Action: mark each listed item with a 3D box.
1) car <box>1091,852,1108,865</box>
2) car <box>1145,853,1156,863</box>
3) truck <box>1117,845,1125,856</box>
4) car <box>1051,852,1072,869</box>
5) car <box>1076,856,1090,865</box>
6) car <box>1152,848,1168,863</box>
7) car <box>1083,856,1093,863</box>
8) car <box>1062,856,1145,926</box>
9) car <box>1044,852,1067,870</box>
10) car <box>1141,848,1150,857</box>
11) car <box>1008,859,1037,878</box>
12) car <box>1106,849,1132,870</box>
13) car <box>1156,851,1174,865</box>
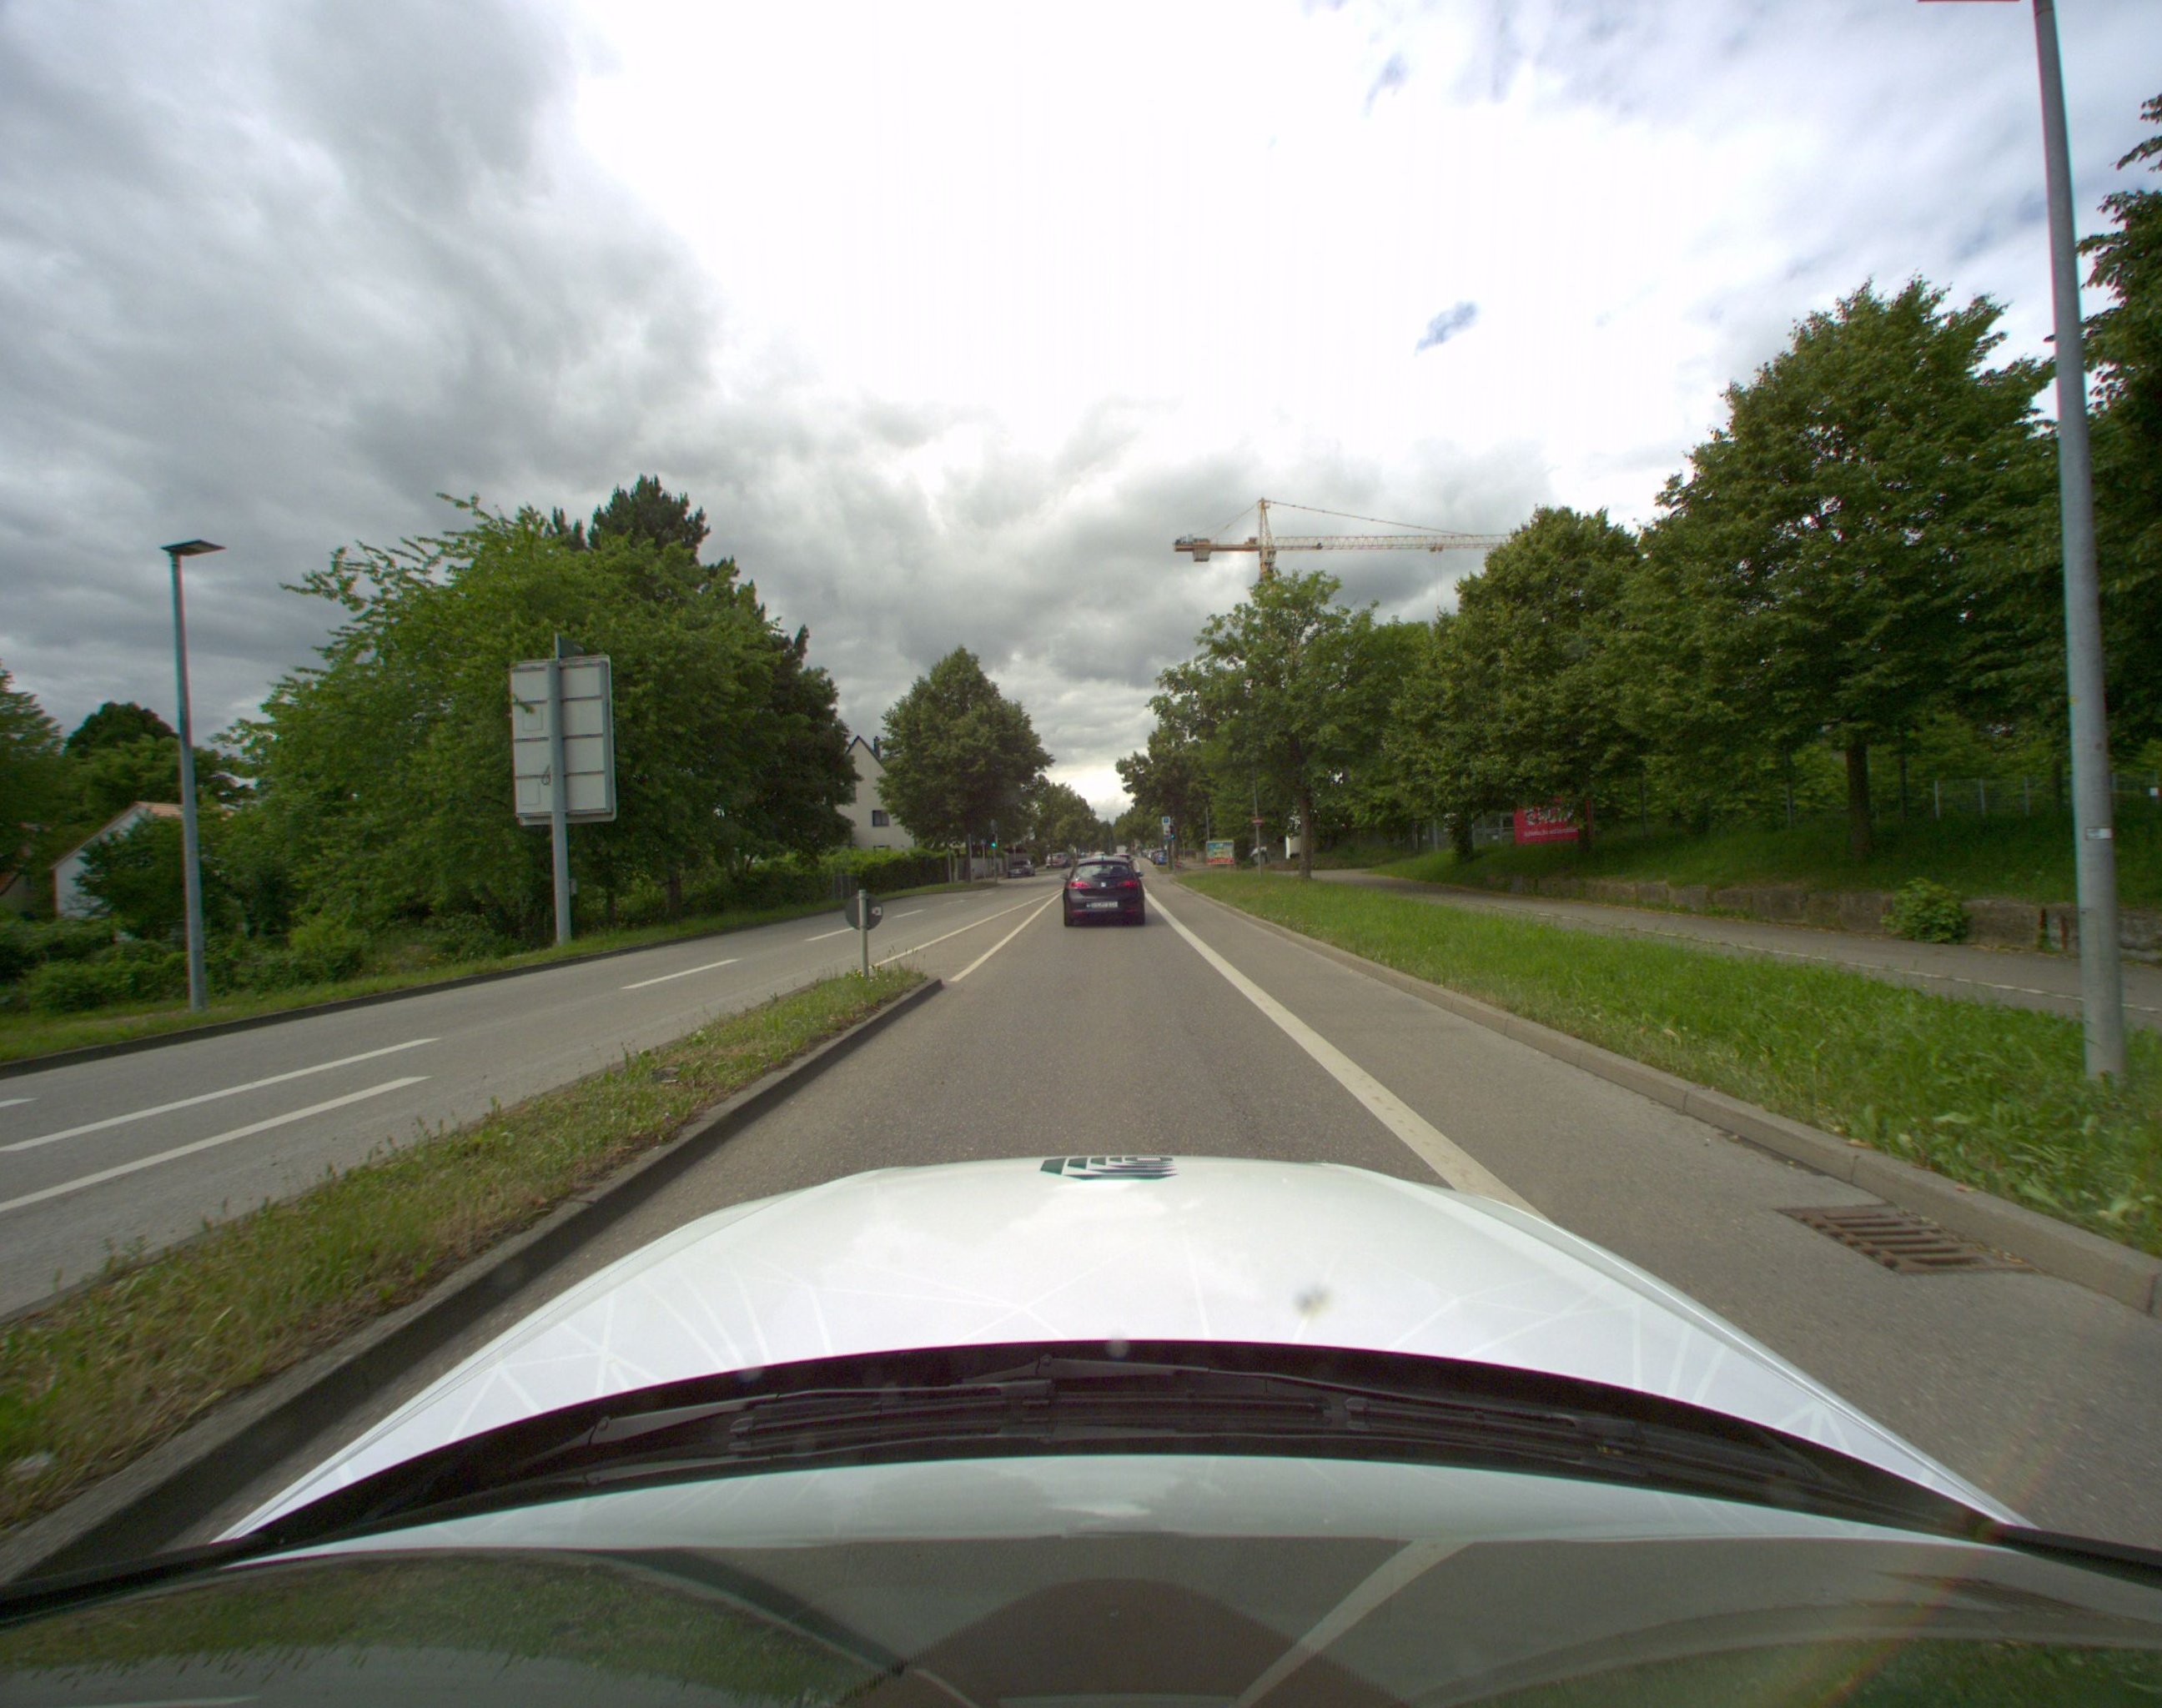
[{"bbox_3d":[2.521,0.620,109.278,1.866,1.635,4.346,-4,0,5],"label":"car"},{"bbox_3d":[11.826,0.663,138.365,1.681,1.564,4.217,-2,0,3],"label":"car"},{"bbox_3d":[11.478,-0.976,233.794,2.270,3.104,8.515,0,-1,2],"label":"truck"},{"bbox_3d":[-2.405,0.834,103.473,2.091,1.896,5.788,-4,0,3],"label":"car"},{"bbox_3d":[0.388,1.154,153.214,2.091,1.506,5.788,-4,0,3],"label":"car"},{"bbox_3d":[9.194,0.166,95.191,1.681,1.711,4.217,-2,0,3],"label":"car"},{"bbox_3d":[1.607,1.225,186.042,2.091,1.506,5.788,-4,0,3],"label":"car"},{"bbox_3d":[0.523,0.758,18.395,1.656,1.401,3.813,-1,0,2],"label":"car"},{"bbox_3d":[-2.922,0.769,95.922,2.091,1.896,5.788,-4,0,3],"label":"car"},{"bbox_3d":[12.937,-0.303,162.856,1.681,1.564,4.217,-2,0,3],"label":"car"},{"bbox_3d":[-4.734,1.140,66.421,1.711,1.395,4.805,-4,0,3],"label":"car"},{"bbox_3d":[2.885,0.422,61.448,1.838,1.510,3.815,-1,0,4],"label":"car"},{"bbox_3d":[9.251,0.439,89.911,1.681,1.490,3.357,-2,0,3],"label":"car"}]
